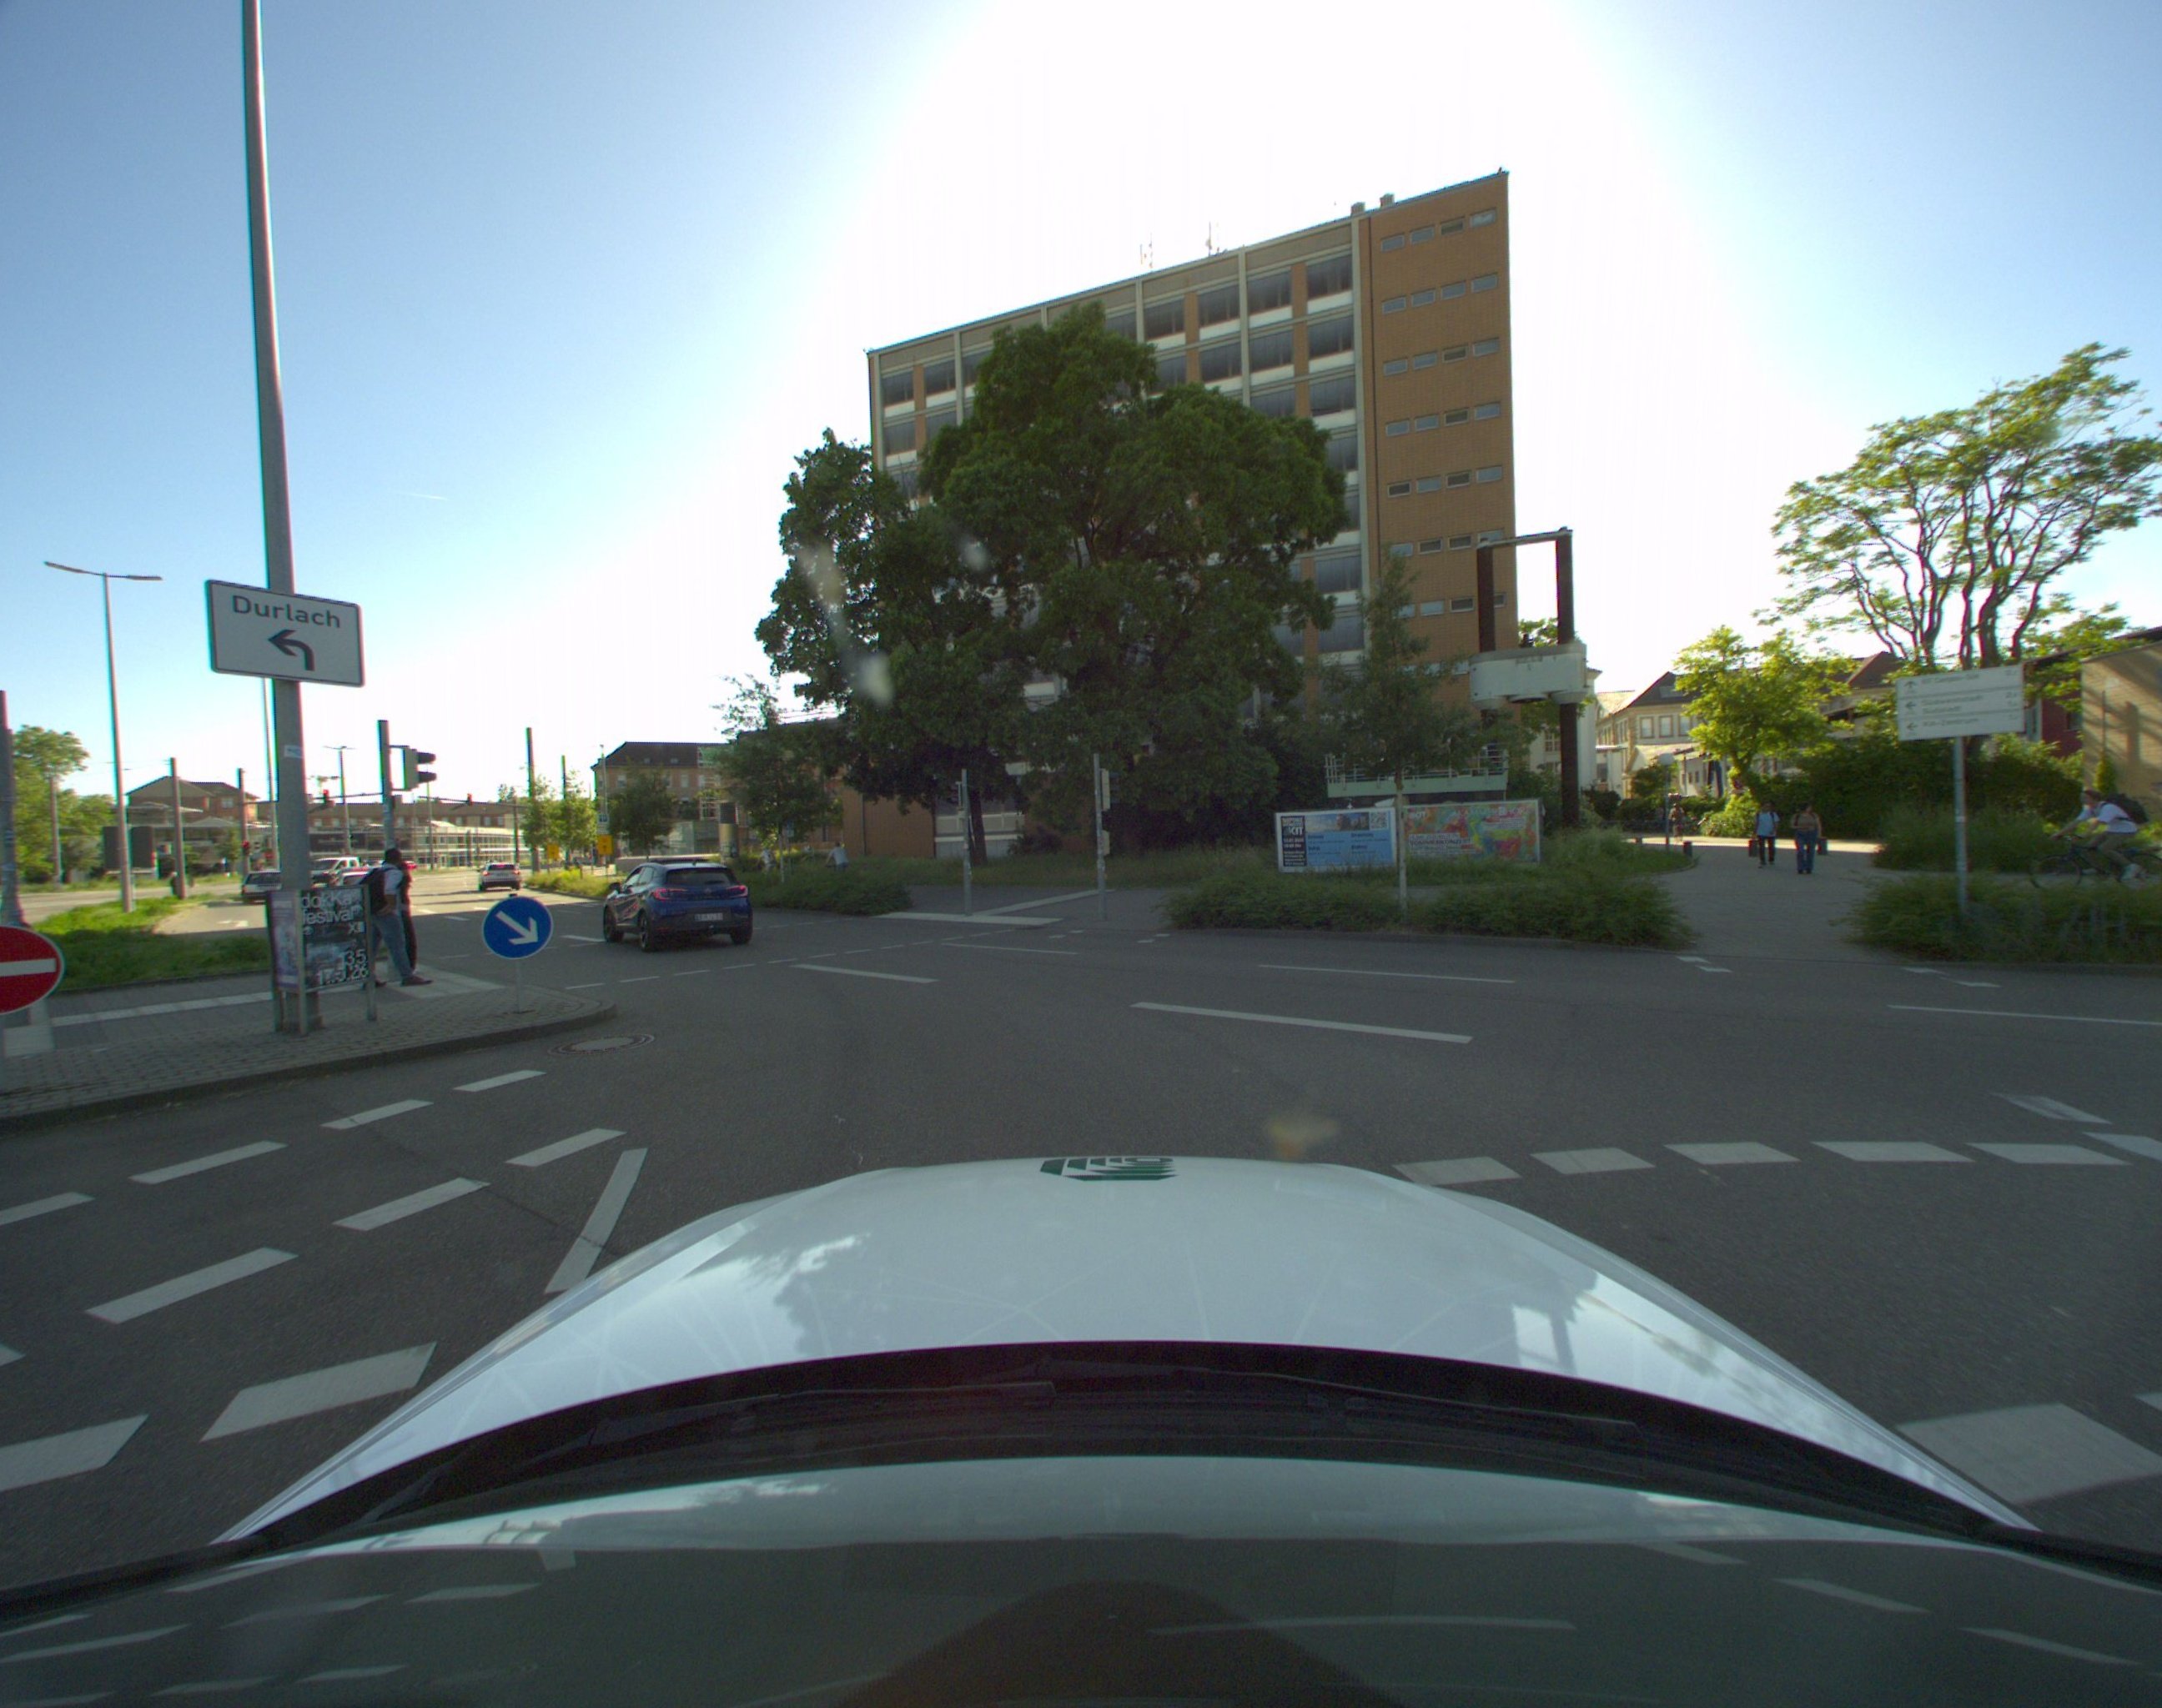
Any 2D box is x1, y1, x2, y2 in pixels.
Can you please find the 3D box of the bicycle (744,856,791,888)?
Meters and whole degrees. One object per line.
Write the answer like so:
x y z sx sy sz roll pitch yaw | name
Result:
-12.228 0.703 31.751 1.846 1.165 0.753 -1 2 36 | bicycle

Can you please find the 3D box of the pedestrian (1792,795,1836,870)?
16.424 -0.491 18.258 0.669 1.643 0.740 1 2 39 | pedestrian

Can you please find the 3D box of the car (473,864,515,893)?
-34.607 1.418 47.980 1.892 1.617 3.584 -1 0 -38 | car

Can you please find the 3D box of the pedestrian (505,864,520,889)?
-41.661 1.645 59.667 0.595 1.723 0.866 -3 -1 -14 | pedestrian

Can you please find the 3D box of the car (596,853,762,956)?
-7.703 0.847 15.445 1.893 1.617 3.752 -3 1 -41 | car

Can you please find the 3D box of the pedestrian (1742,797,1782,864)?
17.172 -0.599 20.541 0.740 1.643 0.669 -2 3 -44 | pedestrian

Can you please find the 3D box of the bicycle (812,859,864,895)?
-8.289 0.778 27.779 1.846 1.165 0.723 -1 2 37 | bicycle

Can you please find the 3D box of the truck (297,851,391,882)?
-61.014 0.946 67.633 2.213 2.313 6.864 -2 1 -8 | truck

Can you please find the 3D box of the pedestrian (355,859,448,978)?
-9.672 0.894 11.625 0.679 1.612 0.717 -2 1 -7 | pedestrian

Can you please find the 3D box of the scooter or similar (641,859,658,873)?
-32.125 0.868 60.591 1.234 1.012 0.471 1 2 28 | scooter or similar

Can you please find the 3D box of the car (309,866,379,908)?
-31.863 1.380 35.163 2.002 1.623 4.323 -3 1 -45 | car

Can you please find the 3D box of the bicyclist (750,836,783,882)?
-12.251 0.199 31.749 0.965 1.762 0.727 -1 2 36 | bicyclist

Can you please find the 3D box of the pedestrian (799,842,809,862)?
-23.816 -0.179 69.933 0.788 1.752 0.535 -1 2 -18 | pedestrian

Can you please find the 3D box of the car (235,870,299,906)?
-37.054 1.510 37.144 1.740 1.442 3.753 -4 2 -41 | car

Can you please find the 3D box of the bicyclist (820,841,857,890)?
-8.250 0.375 27.732 0.965 1.616 0.727 -1 2 38 | bicyclist

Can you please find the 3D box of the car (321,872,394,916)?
-26.526 1.409 29.814 3.690 1.435 1.707 -1 1 45 | car

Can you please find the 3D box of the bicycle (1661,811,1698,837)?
28.332 -1.411 38.552 1.876 1.165 0.741 -3 2 -31 | bicycle

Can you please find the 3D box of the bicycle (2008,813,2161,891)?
16.651 -0.025 13.269 1.932 1.164 0.647 -2 4 31 | bicycle

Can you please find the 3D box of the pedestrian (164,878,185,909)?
-49.531 2.163 44.500 0.562 1.610 0.576 1 2 22 | pedestrian

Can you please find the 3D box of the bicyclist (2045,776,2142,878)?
16.516 -0.446 13.302 0.822 1.595 0.636 -2 4 31 | bicyclist

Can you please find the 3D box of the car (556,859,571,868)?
-97.775 1.831 153.939 1.790 1.544 3.611 -1 2 -25 | car

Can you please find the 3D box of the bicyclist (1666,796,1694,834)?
28.383 -1.836 38.581 0.981 1.734 0.715 -3 2 -31 | bicyclist

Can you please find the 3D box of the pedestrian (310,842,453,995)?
-8.897 0.781 10.405 0.748 1.832 1.100 -2 0 14 | pedestrian
